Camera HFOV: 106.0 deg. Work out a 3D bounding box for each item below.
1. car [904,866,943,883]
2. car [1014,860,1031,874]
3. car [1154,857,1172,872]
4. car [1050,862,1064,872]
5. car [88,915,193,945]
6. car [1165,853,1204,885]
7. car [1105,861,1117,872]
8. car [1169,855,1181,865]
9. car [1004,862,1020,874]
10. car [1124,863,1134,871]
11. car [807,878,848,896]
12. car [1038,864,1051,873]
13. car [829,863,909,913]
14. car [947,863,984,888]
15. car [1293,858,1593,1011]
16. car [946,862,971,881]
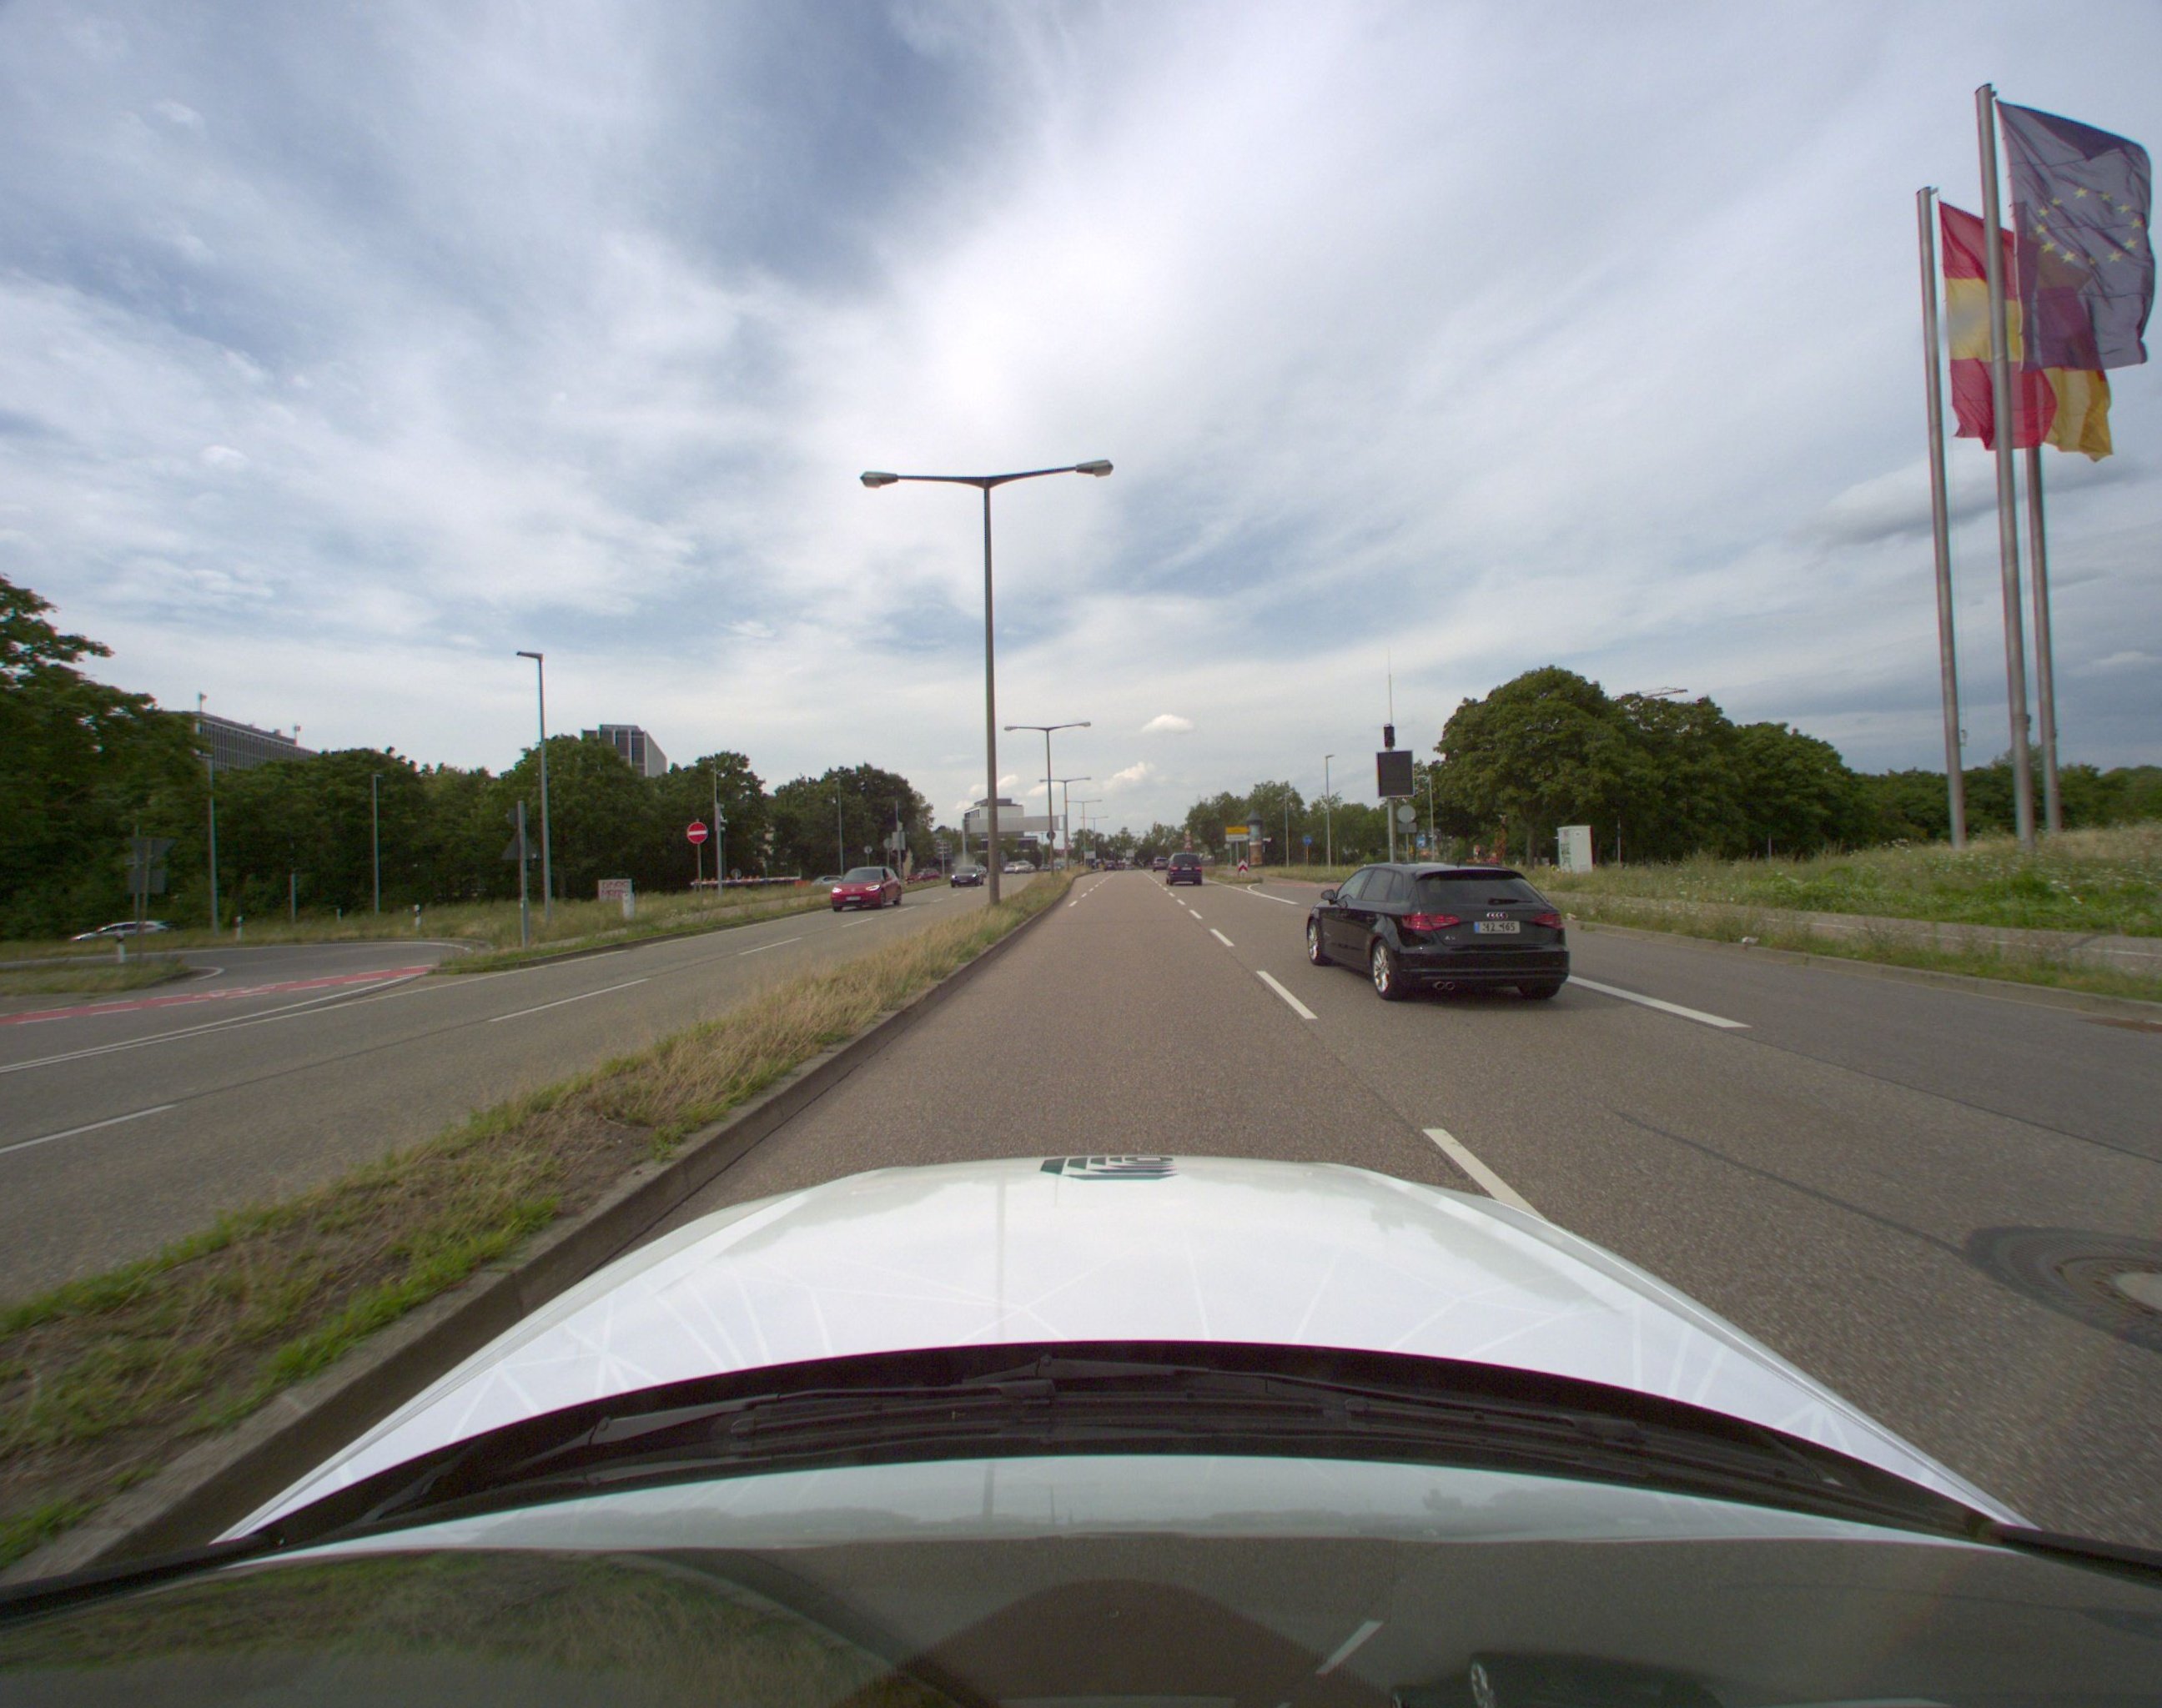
[{"bbox_3d":[-14.766,1.920,76.527,1.499,1.368,4.202,-3,0,22],"label":"car"},{"bbox_3d":[-7.634,1.691,106.312,1.739,1.598,4.564,-3,0,0],"label":"car"},{"bbox_3d":[9.473,1.155,94.455,1.724,1.653,4.117,-1,0,2],"label":"car"},{"bbox_3d":[-4.044,2.198,136.938,1.657,1.425,4.526,-4,-1,6],"label":"car"},{"bbox_3d":[-55.642,4.472,48.264,3.868,1.396,1.568,-3,0,-11],"label":"car"},{"bbox_3d":[5.553,0.792,44.263,1.724,1.653,4.117,-1,0,2],"label":"car"},{"bbox_3d":[4.589,1.871,125.180,1.724,1.653,4.117,-1,0,2],"label":"car"},{"bbox_3d":[13.905,0.858,120.765,1.501,1.447,3.141,-1,0,2],"label":"car"},{"bbox_3d":[-10.032,2.021,118.704,1.659,1.419,4.096,-3,1,3],"label":"car"},{"bbox_3d":[9.769,2.681,164.816,1.725,1.526,4.113,-1,0,-1],"label":"car"},{"bbox_3d":[-20.490,2.665,65.962,1.256,1.273,3.028,-3,0,30],"label":"car"},{"bbox_3d":[-6.720,2.668,150.912,1.785,1.525,4.597,-4,-1,3],"label":"car"},{"bbox_3d":[-7.841,1.219,30.539,1.645,1.574,4.339,-4,0,1],"label":"car"},{"bbox_3d":[-7.842,1.422,55.680,1.739,1.475,4.566,-3,0,1],"label":"car"},{"bbox_3d":[3.880,0.751,9.586,1.725,1.395,4.114,0,0,0],"label":"car"},{"bbox_3d":[-13.365,1.899,89.305,1.986,2.013,4.002,-1,0,2],"label":"car"}]
